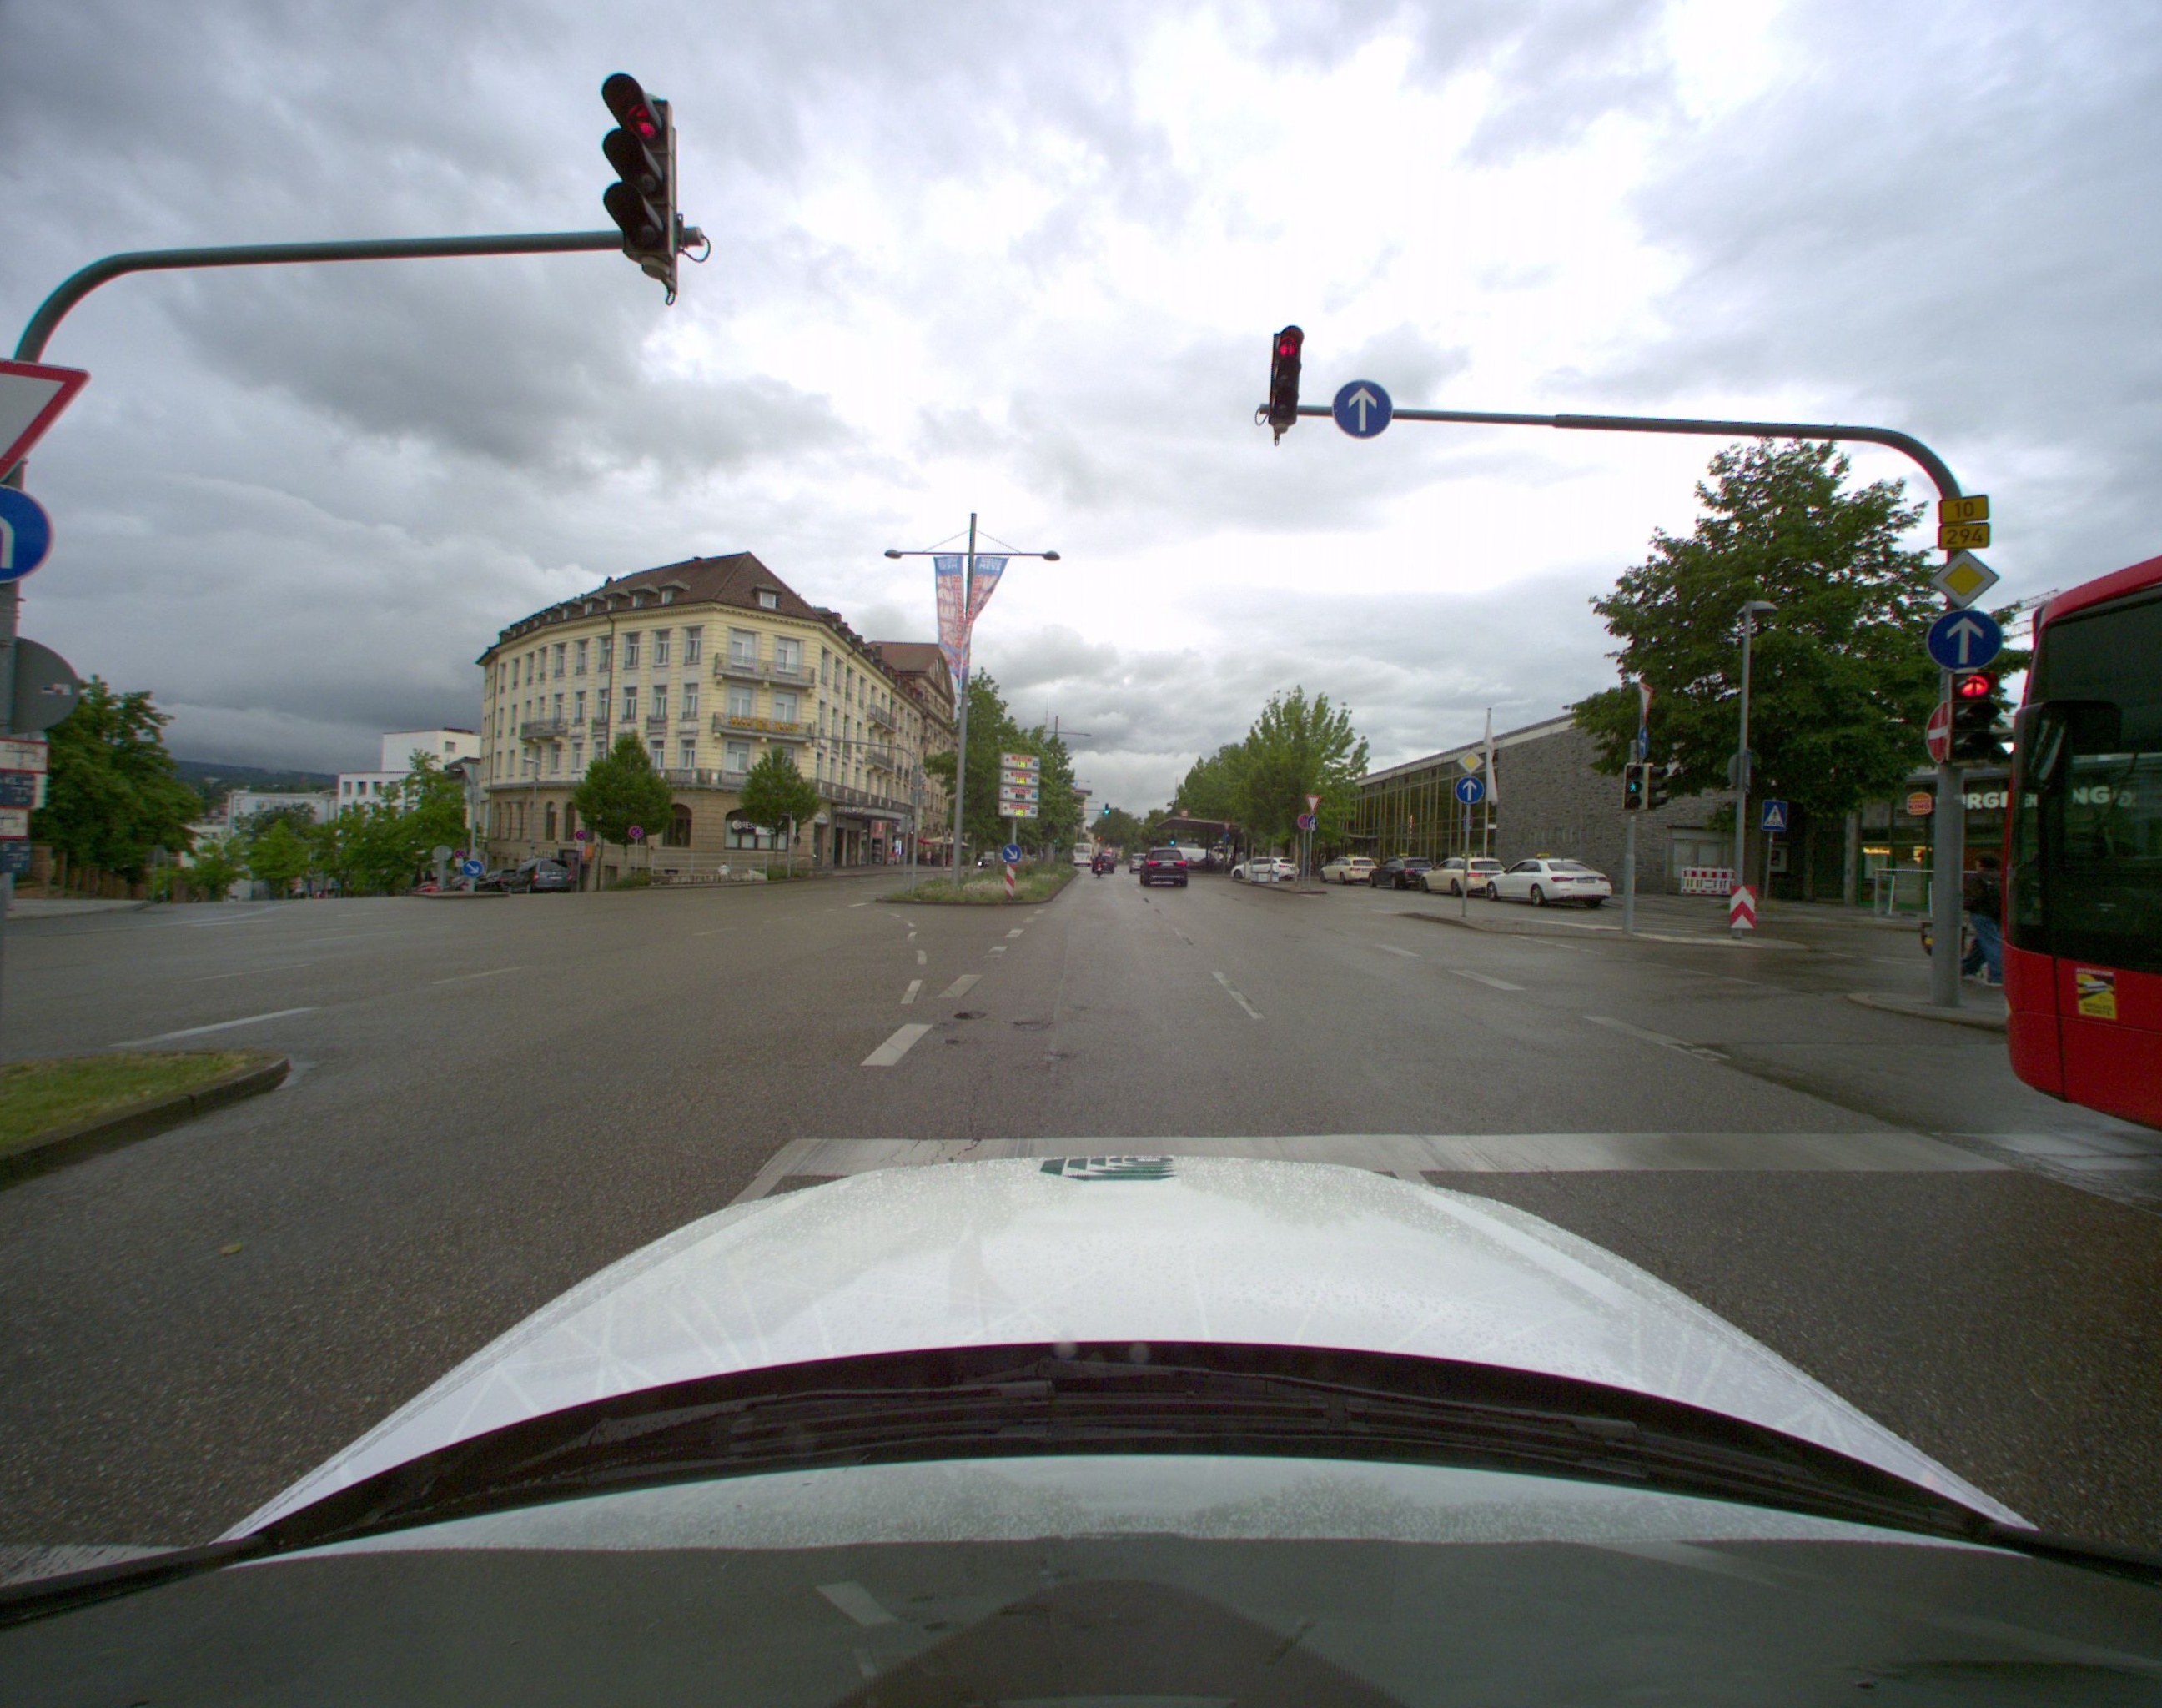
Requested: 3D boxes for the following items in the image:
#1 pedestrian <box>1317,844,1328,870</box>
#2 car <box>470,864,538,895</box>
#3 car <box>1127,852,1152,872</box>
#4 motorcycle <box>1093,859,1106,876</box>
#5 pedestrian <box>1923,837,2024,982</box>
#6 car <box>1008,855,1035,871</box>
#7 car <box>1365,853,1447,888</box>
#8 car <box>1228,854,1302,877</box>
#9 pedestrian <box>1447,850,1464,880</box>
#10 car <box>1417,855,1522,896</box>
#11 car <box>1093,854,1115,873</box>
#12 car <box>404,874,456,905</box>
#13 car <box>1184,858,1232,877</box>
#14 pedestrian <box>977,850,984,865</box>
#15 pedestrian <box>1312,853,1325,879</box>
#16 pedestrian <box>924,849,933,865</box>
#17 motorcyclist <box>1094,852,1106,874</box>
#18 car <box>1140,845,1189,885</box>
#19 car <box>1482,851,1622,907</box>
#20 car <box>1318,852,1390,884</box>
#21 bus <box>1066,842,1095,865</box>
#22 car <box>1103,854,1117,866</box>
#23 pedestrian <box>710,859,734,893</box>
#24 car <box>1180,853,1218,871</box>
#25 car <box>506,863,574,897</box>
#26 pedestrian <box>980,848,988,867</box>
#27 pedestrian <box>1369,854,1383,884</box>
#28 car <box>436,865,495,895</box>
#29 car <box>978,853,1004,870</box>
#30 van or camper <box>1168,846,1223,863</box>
[{"bbox_3d":[21.753,0.267,73.330,0.839,2.411,0.863,0,0,3],"label":"pedestrian"},{"bbox_3d":[-31.969,1.410,45.098,3.948,1.640,2.013,-1,-1,37],"label":"car"},{"bbox_3d":[4.724,0.611,66.366,1.844,1.567,4.001,0,0,2],"label":"car"},{"bbox_3d":[1.169,0.826,50.646,0.763,1.077,2.176,0,0,2],"label":"motorcycle"},{"bbox_3d":[10.875,0.638,9.929,0.716,1.674,0.801,0,0,-40],"label":"pedestrian"},{"bbox_3d":[-5.494,0.828,75.939,1.715,1.381,4.867,-1,0,6],"label":"car"},{"bbox_3d":[14.886,0.708,37.591,1.907,1.524,4.741,0,0,0],"label":"car"},{"bbox_3d":[11.467,0.710,50.918,1.788,1.385,4.318,0,0,-39],"label":"car"},{"bbox_3d":[20.681,0.627,44.996,0.563,1.646,0.715,0,0,-3],"label":"pedestrian"},{"bbox_3d":[14.787,0.785,31.303,1.840,1.452,4.666,0,0,0],"label":"car"},{"bbox_3d":[1.839,0.741,64.428,1.702,1.448,4.001,0,0,2],"label":"car"},{"bbox_3d":[-41.187,2.203,51.480,3.575,1.812,1.788,0,0,38],"label":"car"},{"bbox_3d":[12.821,1.374,82.128,4.348,1.857,1.988,0,0,-18],"label":"car"},{"bbox_3d":[-10.873,0.372,87.791,0.672,1.701,0.634,0,0,1],"label":"pedestrian"},{"bbox_3d":[18.954,0.959,64.978,0.767,2.014,0.828,0,0,0],"label":"pedestrian"},{"bbox_3d":[-13.901,0.271,74.289,0.666,1.510,0.513,0,0,-36],"label":"pedestrian"},{"bbox_3d":[1.176,0.539,50.744,0.761,1.331,0.867,0,0,2],"label":"motorcyclist"},{"bbox_3d":[3.932,0.502,39.071,1.986,1.806,4.691,0,0,2],"label":"car"},{"bbox_3d":[14.648,0.720,25.646,1.768,1.589,4.615,0,0,0],"label":"car"},{"bbox_3d":[14.682,0.721,44.085,1.990,1.600,4.814,0,0,-5],"label":"car"},{"bbox_3d":[-0.175,-0.118,120.951,3.751,3.209,15.512,0,0,-2],"label":"bus"},{"bbox_3d":[3.686,0.712,104.216,1.702,1.474,4.001,0,0,2],"label":"car"},{"bbox_3d":[-19.929,1.216,45.221,0.860,1.878,1.023,0,0,1],"label":"pedestrian"},{"bbox_3d":[14.023,0.961,96.488,3.998,2.014,1.988,0,0,-18],"label":"car"},{"bbox_3d":[-27.100,1.267,40.758,3.949,1.568,1.812,0,0,41],"label":"car"},{"bbox_3d":[-10.492,0.377,87.963,0.756,2.014,0.832,0,0,-5],"label":"pedestrian"},{"bbox_3d":[17.151,0.869,47.318,0.563,1.710,0.715,0,0,-3],"label":"pedestrian"},{"bbox_3d":[-36.311,1.486,48.020,3.864,1.640,1.805,0,0,37],"label":"car"},{"bbox_3d":[-8.455,0.681,76.933,1.764,1.530,4.081,0,0,2],"label":"car"},{"bbox_3d":[14.456,0.067,102.791,6.787,2.014,2.366,0,-1,-25],"label":"van or camper"}]
